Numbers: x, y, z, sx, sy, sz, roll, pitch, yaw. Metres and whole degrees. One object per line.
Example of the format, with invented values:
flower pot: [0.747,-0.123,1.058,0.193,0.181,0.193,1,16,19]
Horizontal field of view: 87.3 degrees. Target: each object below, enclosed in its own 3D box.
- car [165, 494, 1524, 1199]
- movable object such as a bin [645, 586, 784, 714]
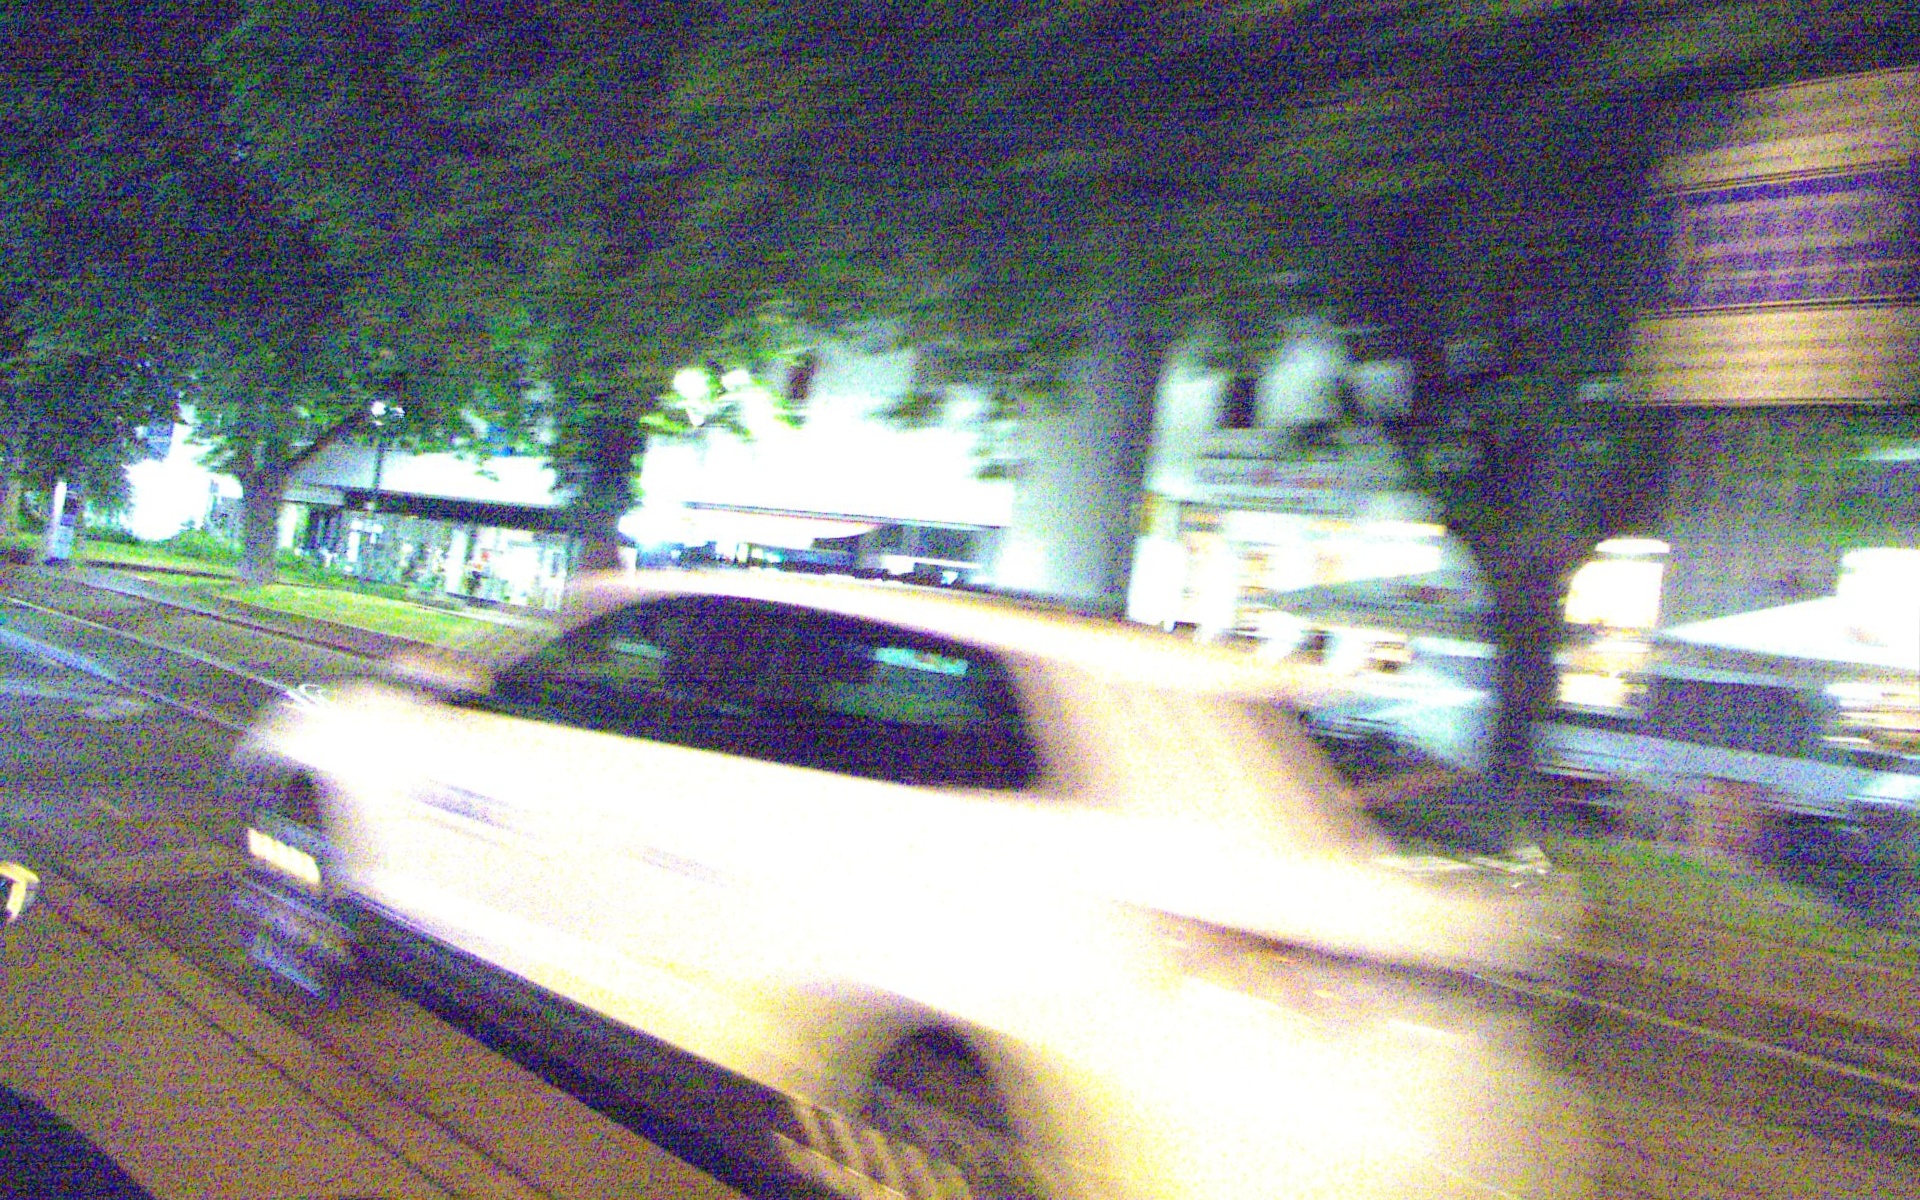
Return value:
car: [-0.641,0.663,3.318,4.147,1.556,1.772,7,0,33]
movable object such as a bin: [-3.023,0.630,12.461,0.976,1.386,1.163,7,-2,30]
